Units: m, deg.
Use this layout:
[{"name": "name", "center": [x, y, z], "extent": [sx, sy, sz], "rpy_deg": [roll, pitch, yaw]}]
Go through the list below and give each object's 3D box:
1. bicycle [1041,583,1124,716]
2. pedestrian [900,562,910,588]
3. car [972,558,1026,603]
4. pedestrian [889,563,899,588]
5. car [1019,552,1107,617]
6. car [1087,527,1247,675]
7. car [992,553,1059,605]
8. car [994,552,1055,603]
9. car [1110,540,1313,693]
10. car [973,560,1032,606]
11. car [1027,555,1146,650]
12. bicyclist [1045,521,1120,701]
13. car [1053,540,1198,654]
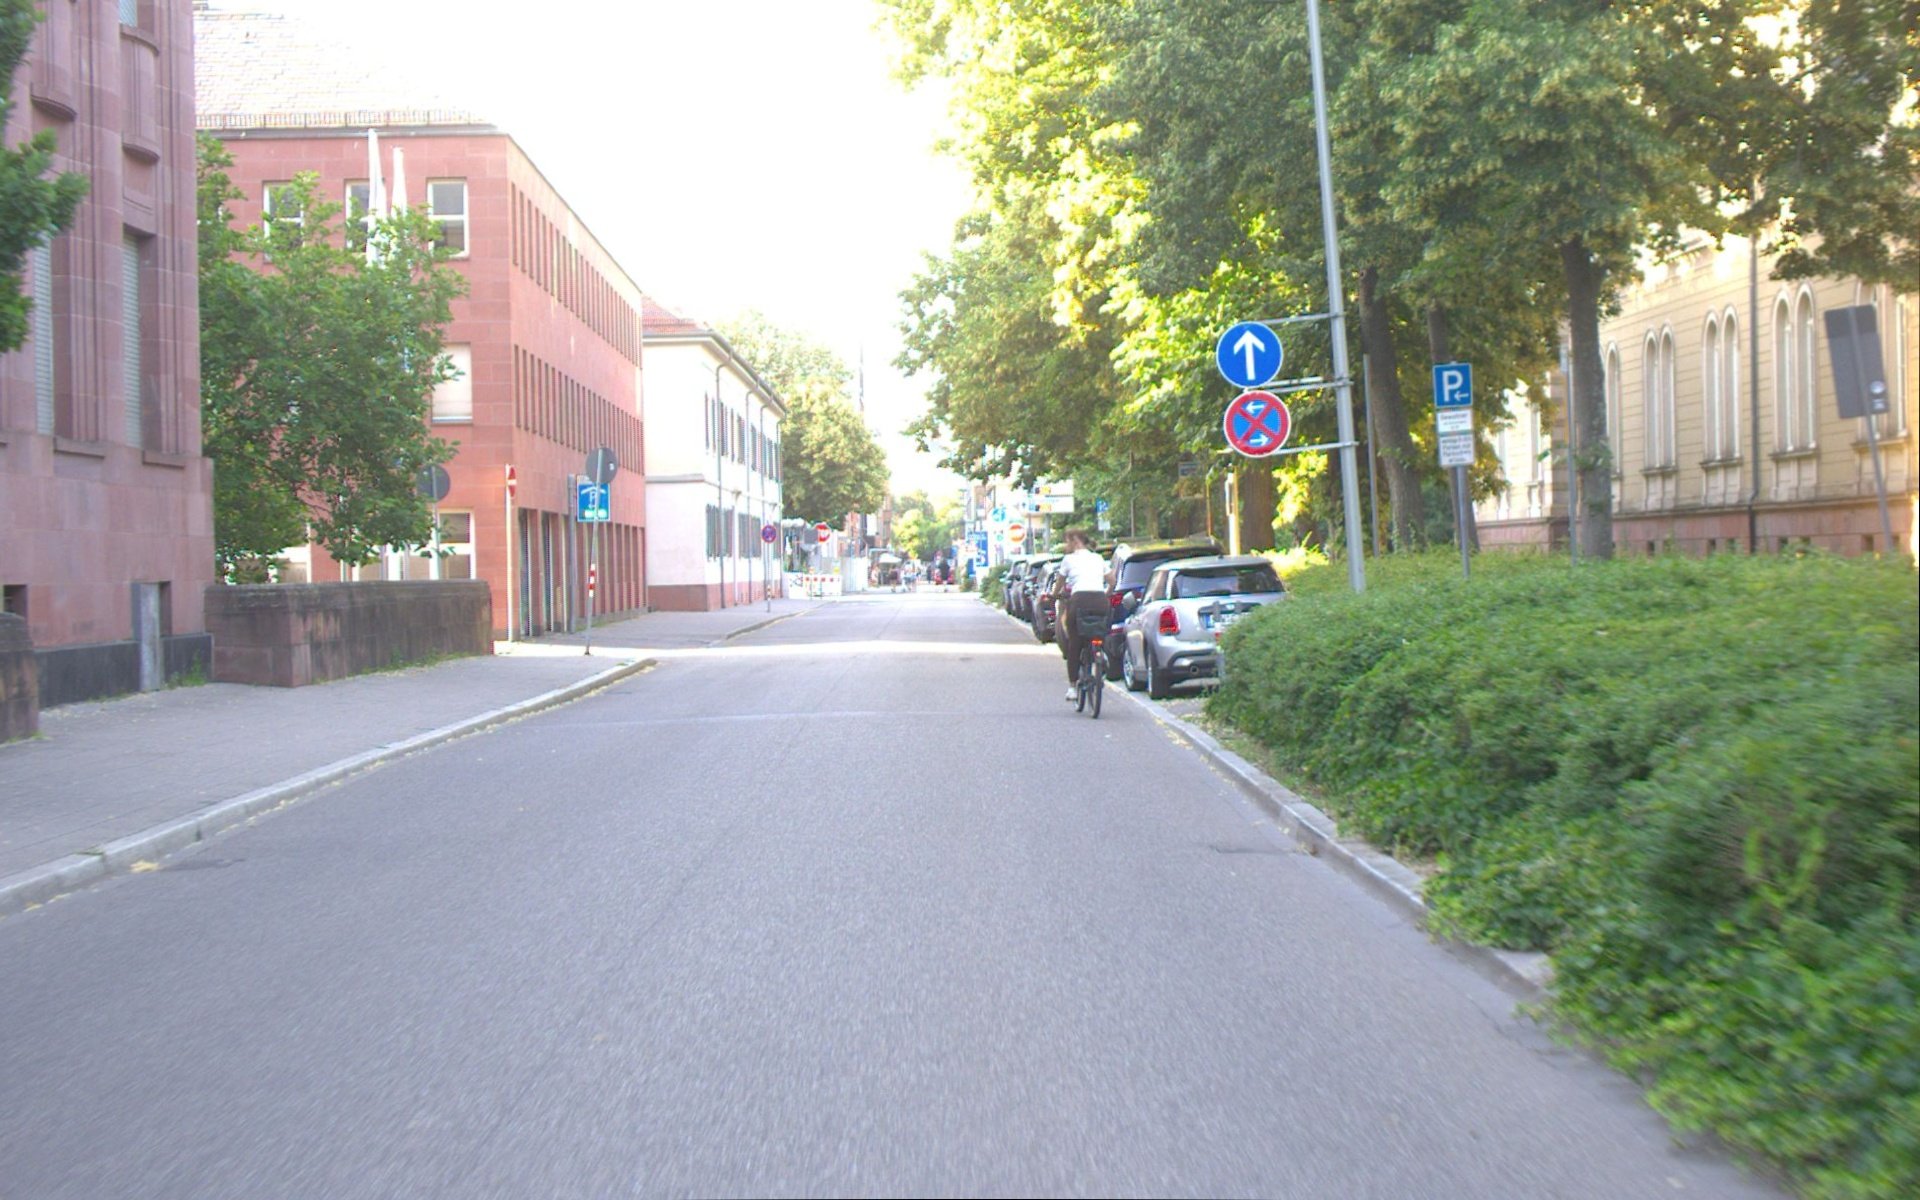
[{"name": "bicycle", "center": [1.142, 0.445, 32.262], "extent": [0.638, 1.189, 1.876], "rpy_deg": [0, 1, -2]}, {"name": "pedestrian", "center": [-3.206, -1.473, 201.696], "extent": [0.534, 1.467, 0.449], "rpy_deg": [-2, 1, -2]}, {"name": "car", "center": [1.976, -1.007, 174.465], "extent": [2.493, 2.188, 4.910], "rpy_deg": [-2, 1, -1]}, {"name": "pedestrian", "center": [-3.921, -1.476, 203.883], "extent": [0.534, 1.467, 0.449], "rpy_deg": [-2, 1, -2]}, {"name": "car", "center": [2.618, -0.412, 88.134], "extent": [1.993, 1.579, 4.000], "rpy_deg": [-2, 1, -1]}, {"name": "car", "center": [2.534, -0.021, 42.929], "extent": [1.715, 1.706, 4.473], "rpy_deg": [-2, 1, 0]}, {"name": "car", "center": [2.139, -0.710, 113.046], "extent": [1.993, 1.623, 4.000], "rpy_deg": [-2, 1, -1]}, {"name": "car", "center": [2.325, -0.833, 124.629], "extent": [1.993, 1.743, 4.000], "rpy_deg": [-2, 1, -1]}, {"name": "car", "center": [2.625, 0.173, 36.589], "extent": [1.685, 1.442, 3.672], "rpy_deg": [-4, 0, -2]}, {"name": "car", "center": [1.778, -0.736, 146.748], "extent": [2.281, 1.848, 4.910], "rpy_deg": [-2, 1, -1]}, {"name": "car", "center": [2.396, 0.029, 66.162], "extent": [1.993, 1.700, 4.000], "rpy_deg": [-2, 1, -1]}, {"name": "bicyclist", "center": [1.145, 0.094, 32.275], "extent": [0.639, 1.662, 0.843], "rpy_deg": [0, 1, -2]}, {"name": "car", "center": [2.355, -0.071, 49.792], "extent": [1.715, 1.532, 4.049], "rpy_deg": [-2, 1, -2]}]
